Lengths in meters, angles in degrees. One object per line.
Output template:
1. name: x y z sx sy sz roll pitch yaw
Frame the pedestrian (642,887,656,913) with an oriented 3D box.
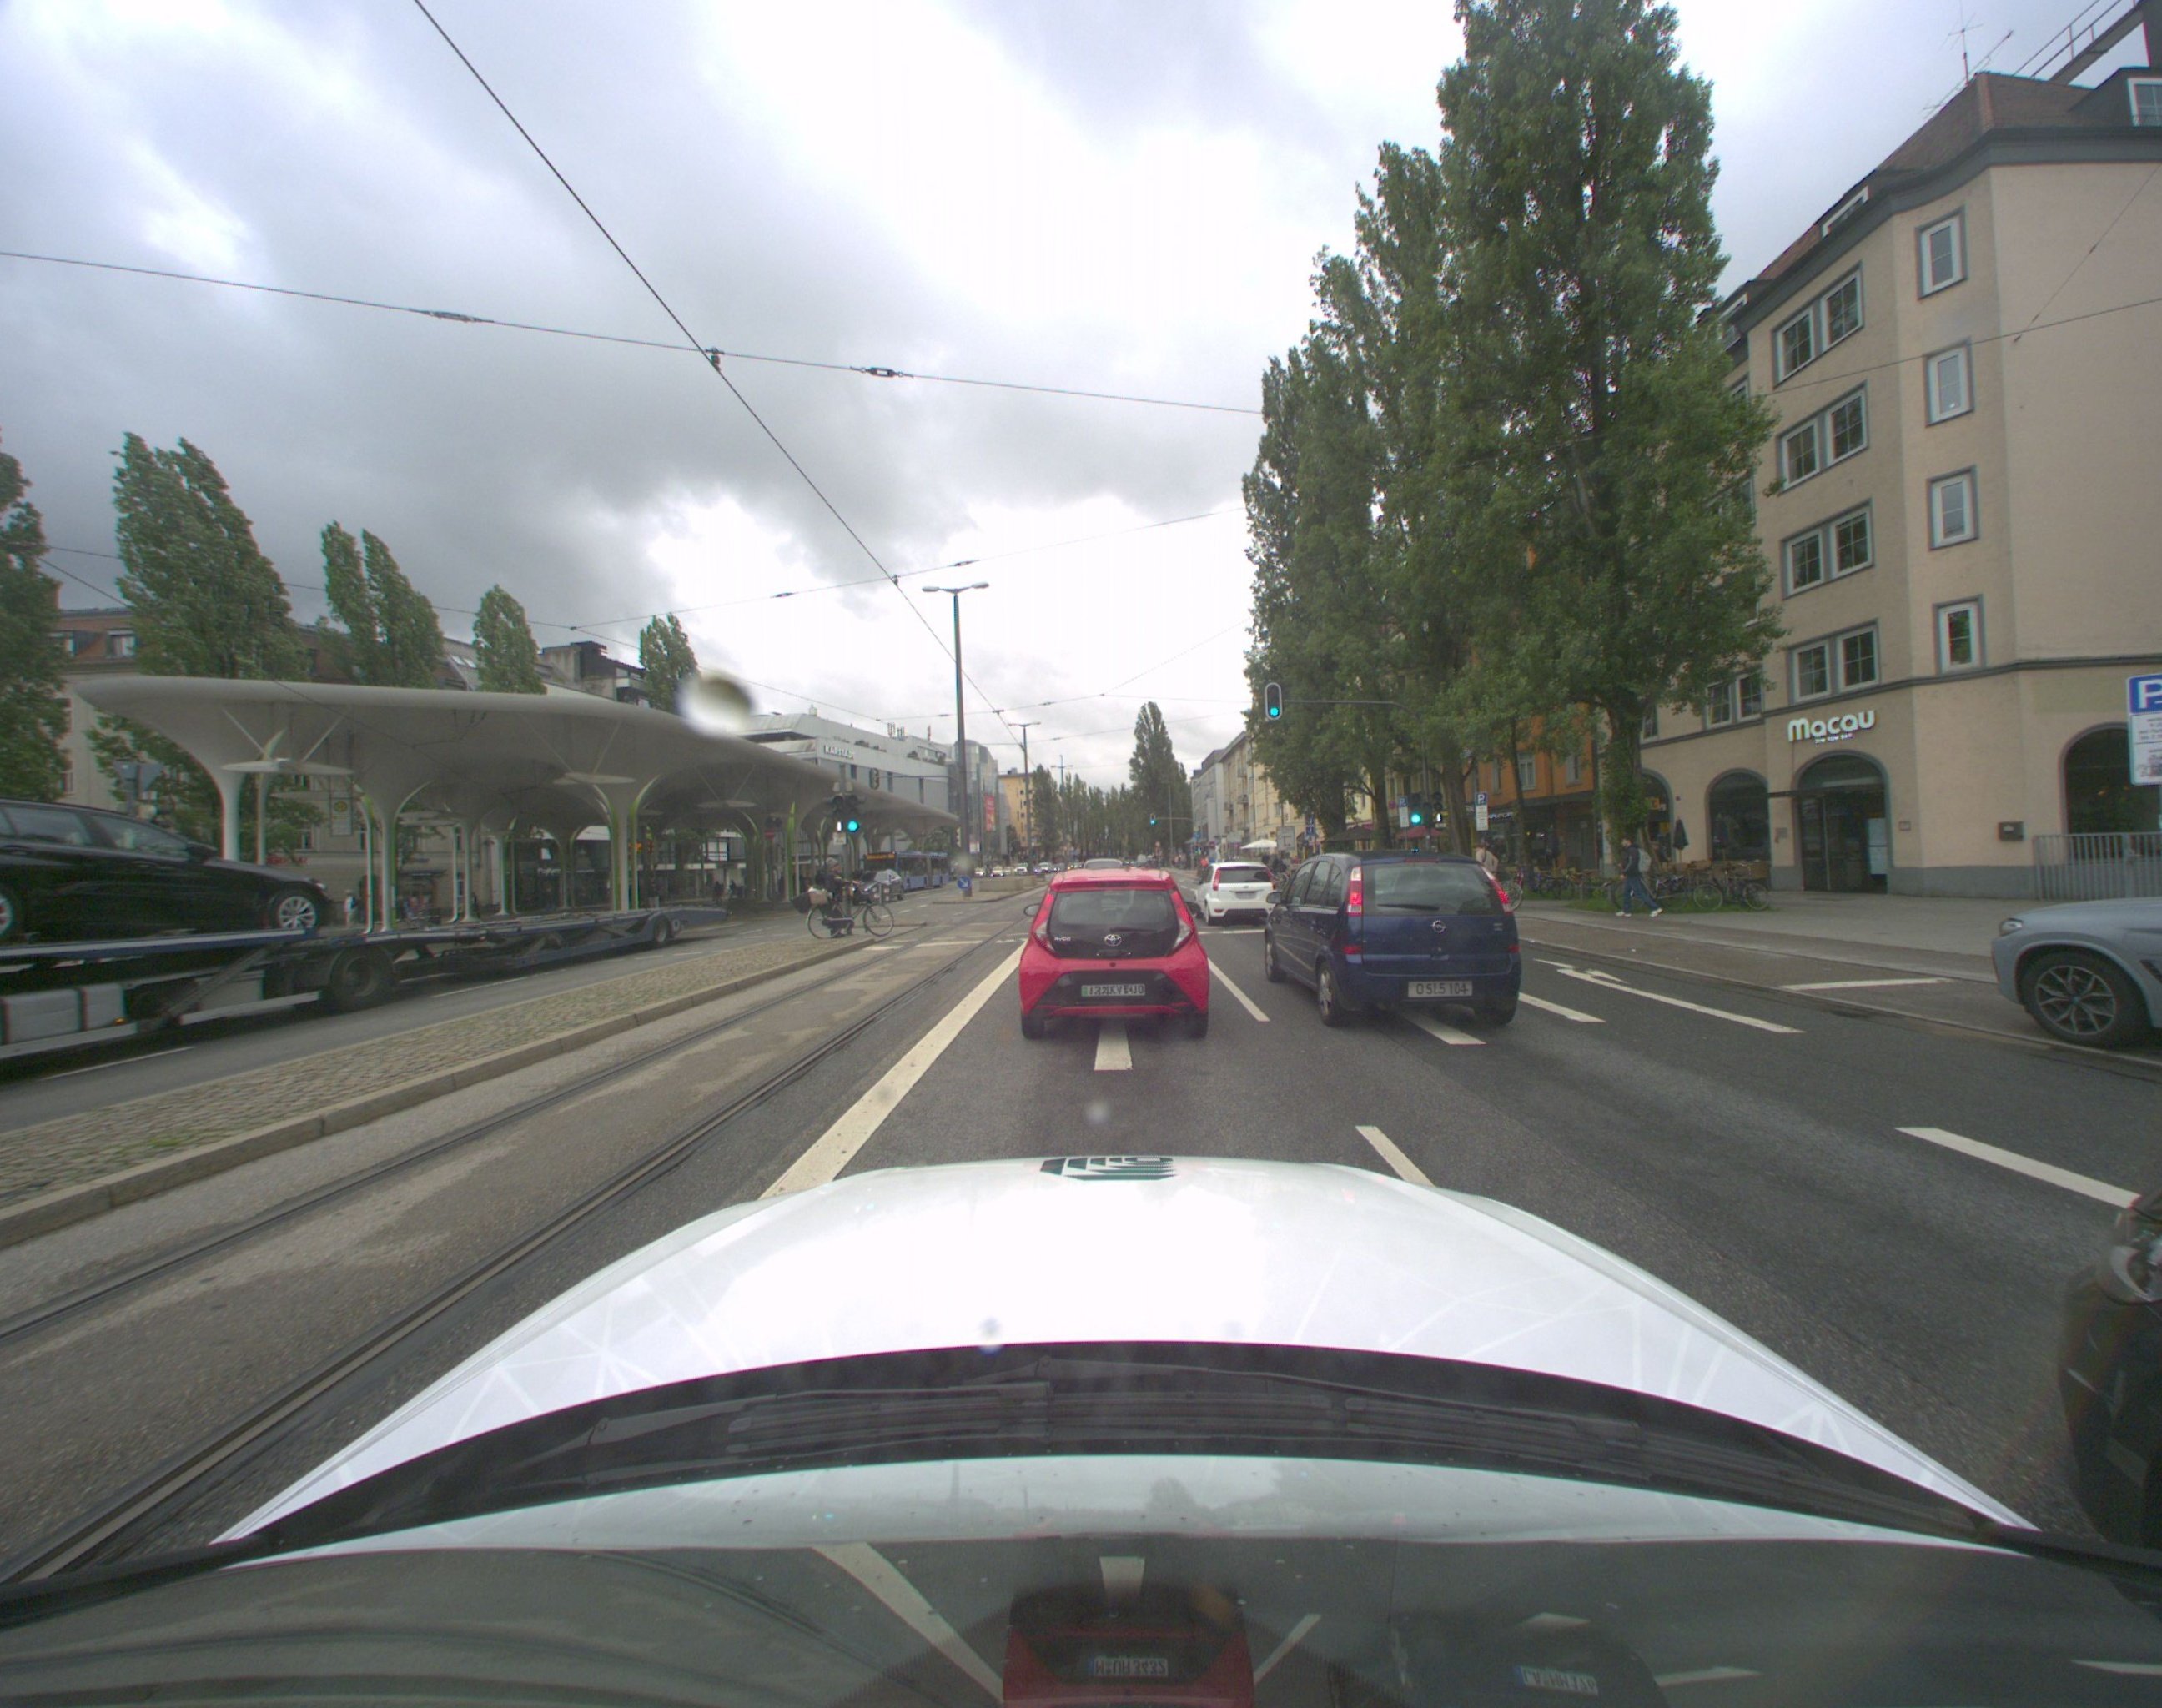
1. pedestrian: -26.660 2.810 50.267 0.664 1.564 0.637 -2 -1 -24

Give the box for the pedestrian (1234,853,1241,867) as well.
1. pedestrian: 19.220 0.683 99.961 0.560 1.670 0.565 -2 3 24

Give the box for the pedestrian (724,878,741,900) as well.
1. pedestrian: -27.580 2.756 64.412 0.867 1.730 0.896 -3 -1 2

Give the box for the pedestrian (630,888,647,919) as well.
1. pedestrian: -22.458 2.500 41.319 0.593 1.545 0.634 -2 -1 -16

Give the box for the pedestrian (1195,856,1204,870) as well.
1. pedestrian: 14.742 1.116 101.361 0.826 1.691 0.825 -3 -1 39

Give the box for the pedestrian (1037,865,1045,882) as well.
1. pedestrian: -3.825 1.870 78.360 0.466 1.618 0.515 -2 -1 -44

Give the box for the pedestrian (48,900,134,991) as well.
1. pedestrian: -18.950 1.719 15.608 0.739 1.628 0.738 -2 -1 -19

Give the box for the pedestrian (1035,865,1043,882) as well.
1. pedestrian: -4.091 1.876 78.659 0.489 1.618 0.552 -2 -1 -33

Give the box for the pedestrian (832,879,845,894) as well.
1. pedestrian: -22.404 2.989 75.222 0.843 1.317 0.869 -1 -1 -42

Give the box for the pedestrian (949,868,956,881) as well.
1. pedestrian: -18.826 3.024 119.264 0.752 1.773 0.767 -2 -1 -21

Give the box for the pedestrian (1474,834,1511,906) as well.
1. pedestrian: 10.317 0.392 20.418 0.692 1.780 0.655 -2 0 35

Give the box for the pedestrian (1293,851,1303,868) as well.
1. pedestrian: 19.013 0.459 71.212 0.673 1.423 0.617 -2 -1 2

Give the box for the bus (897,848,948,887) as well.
1. bus: -13.478 1.142 69.951 2.652 3.007 7.511 -4 -1 0

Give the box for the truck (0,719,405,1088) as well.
1. truck: -10.341 0.493 6.968 2.558 3.087 7.688 -4 -1 -1

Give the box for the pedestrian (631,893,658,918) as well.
1. pedestrian: -24.776 2.908 46.239 0.957 1.370 0.843 -3 -1 8

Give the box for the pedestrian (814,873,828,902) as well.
1. pedestrian: -16.032 2.047 50.144 0.715 1.722 0.877 -2 -1 -16

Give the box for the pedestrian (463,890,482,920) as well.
1. pedestrian: -34.846 2.921 46.650 0.600 1.647 0.640 -3 -1 -6

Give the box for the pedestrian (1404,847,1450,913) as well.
1. pedestrian: 8.465 0.631 19.926 0.757 1.562 0.763 -2 0 0

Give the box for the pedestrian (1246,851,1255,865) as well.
1. pedestrian: 21.824 0.580 104.997 0.930 1.755 1.066 -3 -1 2

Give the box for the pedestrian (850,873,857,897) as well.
1. pedestrian: -15.668 2.126 56.117 0.392 1.605 0.390 -2 -1 -6

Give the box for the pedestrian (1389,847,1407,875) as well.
1. pedestrian: 19.126 0.408 49.091 0.707 1.633 0.787 -2 -1 2

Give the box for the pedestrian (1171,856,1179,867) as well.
1. pedestrian: 14.376 1.132 124.197 0.815 1.522 0.791 -2 -1 -35

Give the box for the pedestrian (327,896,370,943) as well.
1. pedestrian: -33.201 2.964 36.902 0.993 2.014 1.032 -3 -1 17

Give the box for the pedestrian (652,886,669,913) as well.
1. pedestrian: -26.675 2.867 51.645 0.643 1.618 0.701 -3 -1 6

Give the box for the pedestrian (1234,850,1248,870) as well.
1. pedestrian: 14.522 0.525 74.022 0.882 1.743 0.854 -2 -1 -15

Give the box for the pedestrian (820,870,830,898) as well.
1. pedestrian: -16.472 1.907 52.398 0.566 1.743 0.751 -3 -1 -19

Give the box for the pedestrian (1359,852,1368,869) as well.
1. pedestrian: 22.296 0.494 64.204 0.493 1.289 0.552 -2 -1 2

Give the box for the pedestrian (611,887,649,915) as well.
1. pedestrian: -21.133 2.208 38.190 0.803 1.230 1.277 -3 -1 20

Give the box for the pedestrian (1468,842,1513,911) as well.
1. pedestrian: 9.929 0.535 19.759 0.760 1.638 0.693 -2 0 -41

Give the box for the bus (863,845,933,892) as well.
1. bus: -13.492 1.068 60.970 2.652 3.007 10.513 -4 -1 0

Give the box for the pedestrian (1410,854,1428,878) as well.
1. pedestrian: 17.925 0.632 43.190 0.598 1.222 0.666 -2 -1 2

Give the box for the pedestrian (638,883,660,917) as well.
1. pedestrian: -22.854 2.429 43.081 0.809 1.728 0.669 -3 -1 -15

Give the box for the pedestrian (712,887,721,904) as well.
1. pedestrian: -28.392 3.230 63.426 0.577 1.265 0.514 -2 -1 -32

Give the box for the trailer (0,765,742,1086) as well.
1. trailer: -10.401 0.749 13.968 2.602 2.682 15.634 -4 0 -1

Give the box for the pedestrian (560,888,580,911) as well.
1. pedestrian: -41.788 3.731 66.637 0.921 1.773 1.004 -3 -1 21

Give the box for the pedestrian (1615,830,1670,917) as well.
1. pedestrian: 12.012 0.396 17.436 0.871 1.801 0.761 0 0 27

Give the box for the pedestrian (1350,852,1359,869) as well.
1. pedestrian: 21.603 0.495 64.293 0.493 1.289 0.552 -2 -1 2

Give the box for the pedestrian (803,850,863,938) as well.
1. pedestrian: -5.274 0.850 17.367 0.852 1.812 0.900 -2 -2 11

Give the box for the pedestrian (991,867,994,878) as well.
1. pedestrian: -13.746 2.871 126.702 0.444 1.760 0.355 -3 -1 -3

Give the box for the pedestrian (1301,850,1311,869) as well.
1. pedestrian: 19.490 0.449 70.460 0.612 1.633 0.678 -2 -1 2

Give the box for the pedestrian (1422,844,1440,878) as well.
1. pedestrian: 18.636 0.373 43.375 0.598 1.739 0.666 -2 -1 2

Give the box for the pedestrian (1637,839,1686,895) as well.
1. pedestrian: 17.422 0.383 24.451 0.842 1.602 0.824 -3 -1 7

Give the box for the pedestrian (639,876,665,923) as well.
1. pedestrian: -17.443 1.844 33.118 0.800 1.839 0.670 -3 -1 43

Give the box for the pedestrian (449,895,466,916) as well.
1. pedestrian: -34.997 2.879 45.696 0.516 1.084 0.577 -2 -1 -6

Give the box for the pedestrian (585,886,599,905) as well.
1. pedestrian: -44.624 3.790 74.324 0.775 1.661 0.776 -3 -1 11

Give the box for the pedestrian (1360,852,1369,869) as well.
1. pedestrian: 22.097 0.487 63.415 0.493 1.332 0.552 -2 -1 2

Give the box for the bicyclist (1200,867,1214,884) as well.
1. bicyclist: 12.507 2.107 81.169 0.618 1.657 1.237 -2 -1 -36
